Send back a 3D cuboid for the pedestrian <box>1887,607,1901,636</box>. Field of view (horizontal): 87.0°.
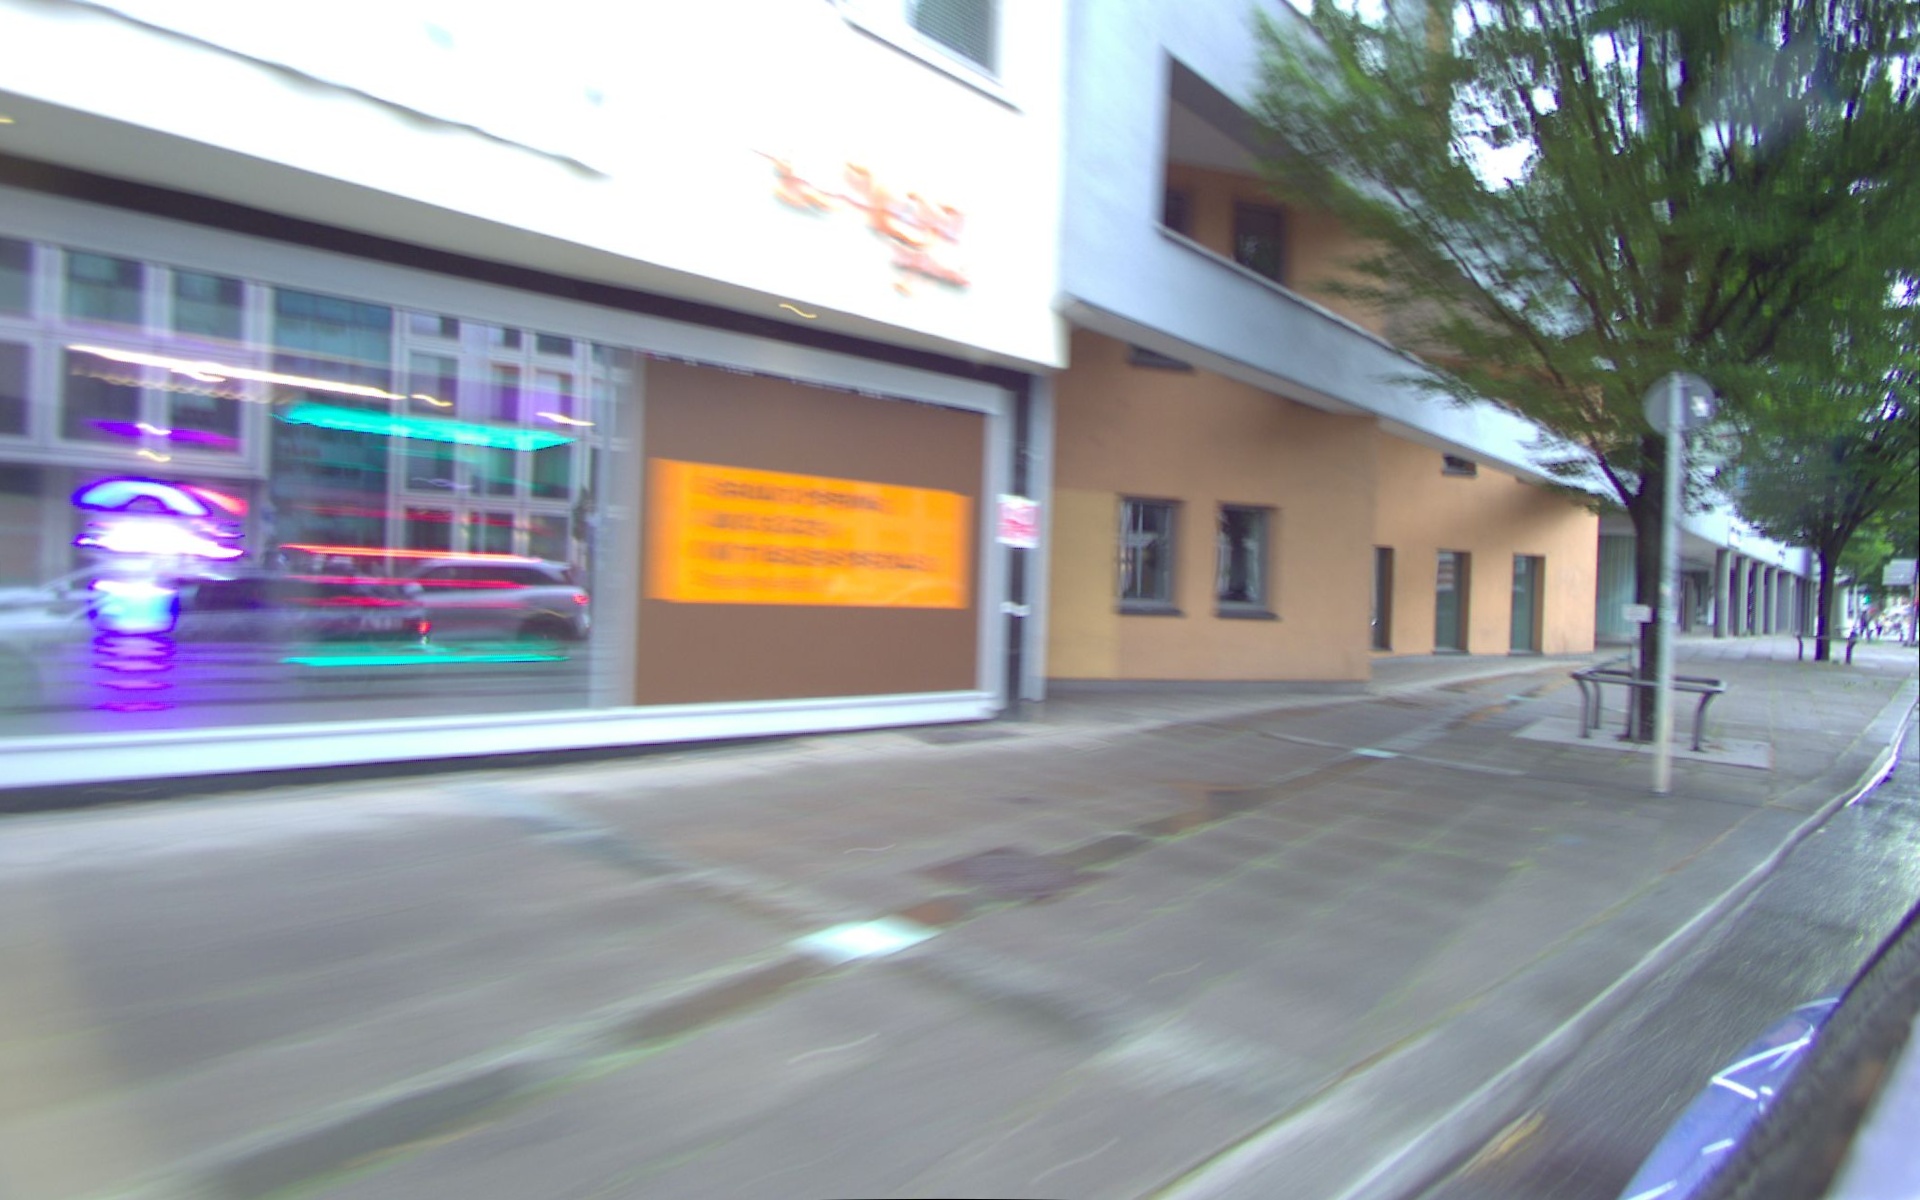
[{"bbox_3d":[59.961,1.372,64.969,0.865,1.805,0.640,2,-1,-44],"label":"pedestrian"}]

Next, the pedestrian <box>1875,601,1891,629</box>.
[{"bbox_3d":[58.889,0.952,64.570,0.791,1.805,0.881,0,-1,43],"label":"pedestrian"}]
